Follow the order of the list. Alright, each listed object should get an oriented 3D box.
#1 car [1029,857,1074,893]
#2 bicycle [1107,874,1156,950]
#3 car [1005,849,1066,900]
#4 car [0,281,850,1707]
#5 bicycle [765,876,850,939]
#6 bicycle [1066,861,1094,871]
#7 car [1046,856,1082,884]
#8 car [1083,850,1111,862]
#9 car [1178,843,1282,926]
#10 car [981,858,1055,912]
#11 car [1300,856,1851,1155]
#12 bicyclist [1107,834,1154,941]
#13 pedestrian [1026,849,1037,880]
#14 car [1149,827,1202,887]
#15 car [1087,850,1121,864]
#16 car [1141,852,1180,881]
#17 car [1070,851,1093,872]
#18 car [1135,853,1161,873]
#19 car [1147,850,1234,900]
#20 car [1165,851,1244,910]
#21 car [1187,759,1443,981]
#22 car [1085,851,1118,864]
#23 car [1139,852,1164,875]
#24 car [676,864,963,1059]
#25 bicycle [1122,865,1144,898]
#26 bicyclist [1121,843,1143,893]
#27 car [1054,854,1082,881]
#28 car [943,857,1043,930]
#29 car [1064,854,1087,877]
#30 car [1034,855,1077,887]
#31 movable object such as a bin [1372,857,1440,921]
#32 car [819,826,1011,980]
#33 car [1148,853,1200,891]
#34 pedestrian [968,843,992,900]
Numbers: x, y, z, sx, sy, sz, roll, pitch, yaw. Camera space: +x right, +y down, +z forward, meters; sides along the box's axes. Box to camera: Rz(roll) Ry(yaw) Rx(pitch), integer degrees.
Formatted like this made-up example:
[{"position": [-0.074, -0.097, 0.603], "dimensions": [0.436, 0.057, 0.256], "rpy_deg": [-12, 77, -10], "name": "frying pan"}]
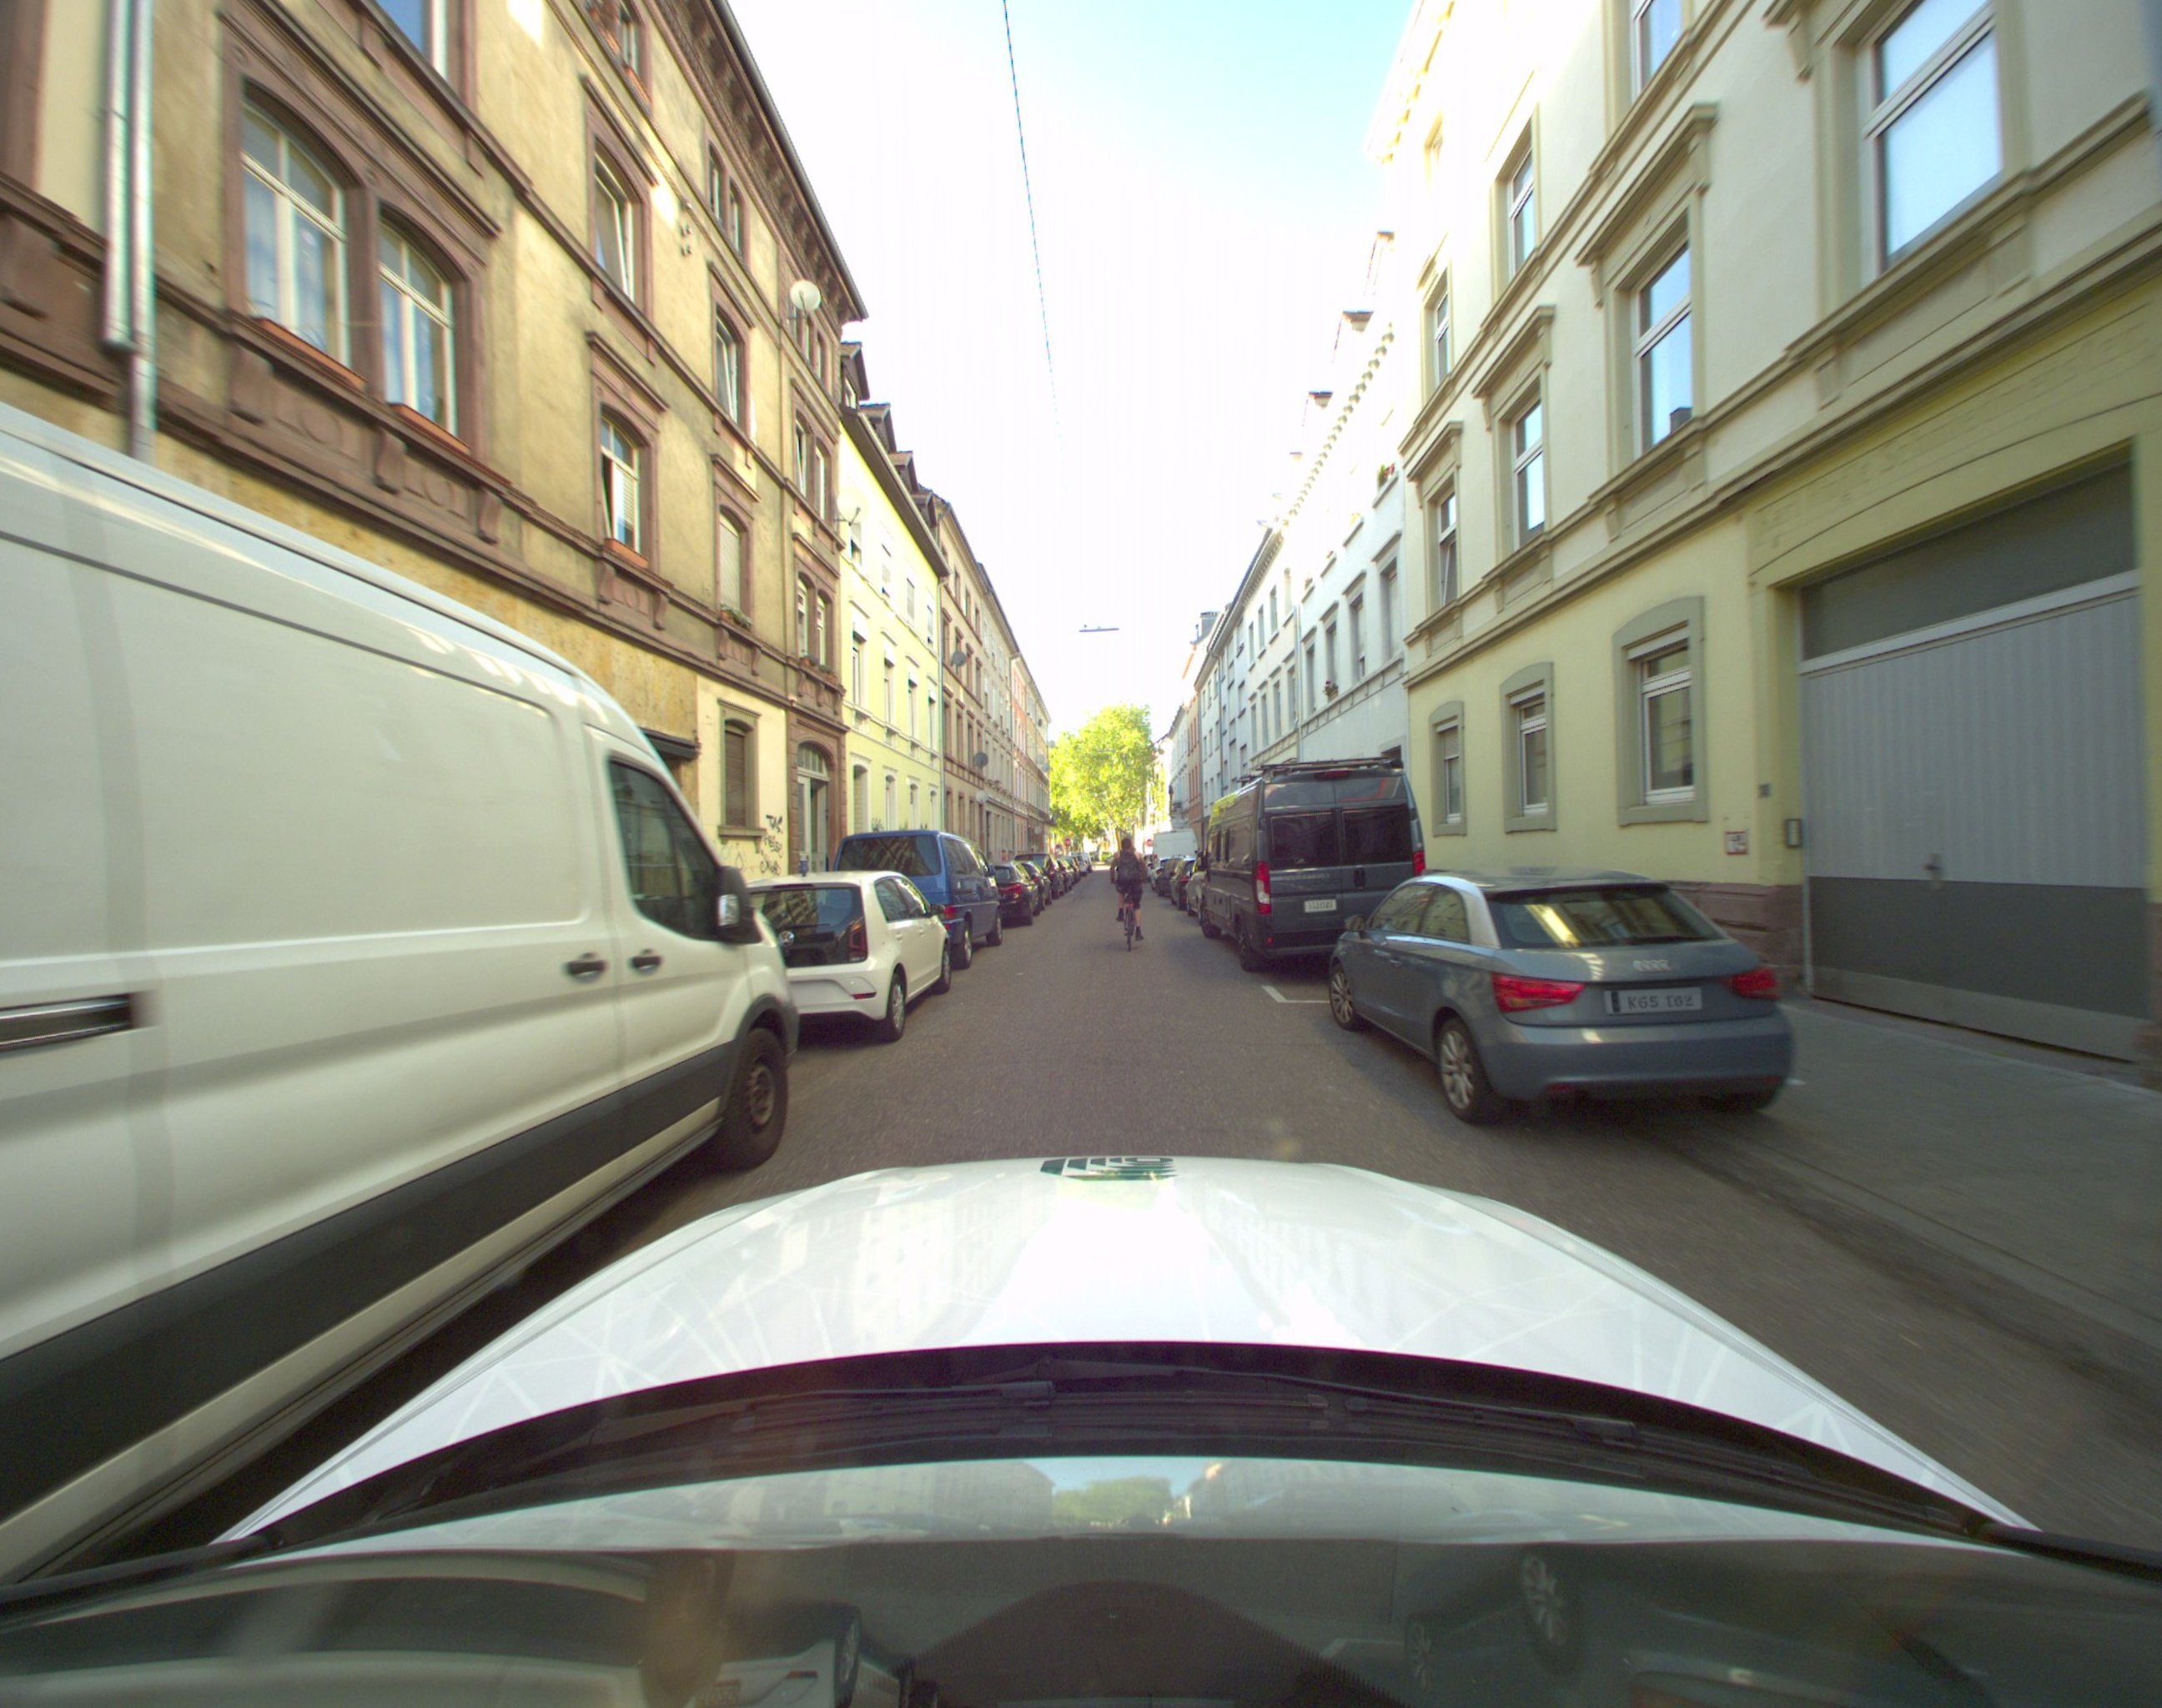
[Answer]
[{"position": [-1.236, 0.882, 35.711], "dimensions": [1.585, 1.440, 3.656], "rpy_deg": [-2, 0, 3], "name": "car"}, {"position": [0.798, 0.907, 13.381], "dimensions": [0.737, 1.100, 2.043], "rpy_deg": [0, 0, 2], "name": "bicycle"}, {"position": [-1.631, 0.730, 30.739], "dimensions": [1.794, 1.698, 4.002], "rpy_deg": [-4, 0, 2], "name": "car"}, {"position": [-2.709, 0.373, 2.380], "dimensions": [2.160, 2.452, 5.922], "rpy_deg": [-3, 0, 1], "name": "car"}, {"position": [-5.063, 0.962, 15.218], "dimensions": [0.752, 1.021, 2.031], "rpy_deg": [2, 0, 3], "name": "bicycle"}, {"position": [-0.072, 1.150, 79.946], "dimensions": [2.707, 0.892, 0.618], "rpy_deg": [-2, 0, -1], "name": "bicycle"}, {"position": [-0.919, 0.864, 45.747], "dimensions": [1.699, 1.414, 4.304], "rpy_deg": [-2, 0, 2], "name": "car"}, {"position": [2.654, 0.346, 134.760], "dimensions": [4.458, 1.696, 1.865], "rpy_deg": [-2, 0, -3], "name": "car"}, {"position": [3.329, 0.626, 18.950], "dimensions": [1.687, 1.608, 4.377], "rpy_deg": [-4, 0, 2], "name": "car"}, {"position": [-1.839, 0.868, 24.780], "dimensions": [1.730, 1.427, 4.002], "rpy_deg": [-2, 0, 2], "name": "car"}, {"position": [3.018, 0.761, 6.145], "dimensions": [1.740, 1.444, 4.174], "rpy_deg": [-1, 0, 2], "name": "car"}, {"position": [0.797, 0.527, 13.303], "dimensions": [0.737, 1.679, 1.117], "rpy_deg": [0, 0, 2], "name": "bicyclist"}, {"position": [-3.101, 0.648, 50.651], "dimensions": [0.608, 1.858, 0.754], "rpy_deg": [0, 0, 1], "name": "pedestrian"}, {"position": [4.422, 0.135, 38.969], "dimensions": [2.194, 2.550, 6.043], "rpy_deg": [-2, 0, 4], "name": "car"}, {"position": [3.076, 0.430, 109.470], "dimensions": [4.458, 1.759, 1.865], "rpy_deg": [-2, 0, -3], "name": "car"}, {"position": [4.397, 0.653, 45.503], "dimensions": [1.726, 1.470, 4.020], "rpy_deg": [-2, 0, 0], "name": "car"}, {"position": [0.078, 0.626, 70.279], "dimensions": [1.781, 1.737, 3.877], "rpy_deg": [-2, 0, 2], "name": "car"}, {"position": [5.194, 0.669, 63.752], "dimensions": [1.704, 1.470, 4.000], "rpy_deg": [-2, 0, 0], "name": "car"}, {"position": [3.746, 0.677, 28.689], "dimensions": [1.810, 1.478, 4.597], "rpy_deg": [-5, 1, -7], "name": "car"}, {"position": [3.496, 0.701, 23.700], "dimensions": [1.739, 1.485, 4.245], "rpy_deg": [-2, 0, 2], "name": "car"}, {"position": [3.087, 0.183, 12.474], "dimensions": [2.167, 2.425, 6.312], "rpy_deg": [-3, 0, 2], "name": "car"}, {"position": [2.842, 0.474, 114.511], "dimensions": [4.458, 1.696, 1.865], "rpy_deg": [-2, 0, -3], "name": "car"}, {"position": [5.010, 0.655, 58.295], "dimensions": [1.586, 1.492, 3.878], "rpy_deg": [-2, 0, 3], "name": "car"}, {"position": [-2.364, 0.884, 8.429], "dimensions": [1.640, 1.447, 3.840], "rpy_deg": [-2, 0, 1], "name": "car"}, {"position": [1.770, 0.933, 27.896], "dimensions": [0.661, 1.037, 1.960], "rpy_deg": [-2, 0, 2], "name": "bicycle"}, {"position": [1.740, 0.483, 27.843], "dimensions": [0.667, 1.658, 0.877], "rpy_deg": [-2, 0, 2], "name": "bicyclist"}, {"position": [-0.780, 0.805, 50.708], "dimensions": [1.599, 1.530, 3.379], "rpy_deg": [-3, 0, 0], "name": "car"}, {"position": [-1.989, 0.845, 19.718], "dimensions": [1.856, 1.440, 4.645], "rpy_deg": [-2, 1, 0], "name": "car"}, {"position": [-0.413, 0.777, 58.080], "dimensions": [1.540, 1.550, 3.464], "rpy_deg": [-2, 0, -1], "name": "car"}, {"position": [-1.237, 0.830, 40.692], "dimensions": [1.666, 1.430, 3.893], "rpy_deg": [-2, 0, 4], "name": "car"}, {"position": [5.821, 0.609, 14.607], "dimensions": [0.860, 1.042, 0.708], "rpy_deg": [-5, 0, 0], "name": "movable object such as a bin"}, {"position": [-2.392, 0.642, 13.030], "dimensions": [1.820, 1.891, 4.616], "rpy_deg": [-4, 0, 2], "name": "car"}, {"position": [3.776, 0.695, 33.537], "dimensions": [1.719, 1.429, 3.833], "rpy_deg": [-2, 0, 1], "name": "car"}, {"position": [-3.334, 0.568, 26.807], "dimensions": [0.648, 1.817, 0.754], "rpy_deg": [0, 0, 2], "name": "pedestrian"}]
